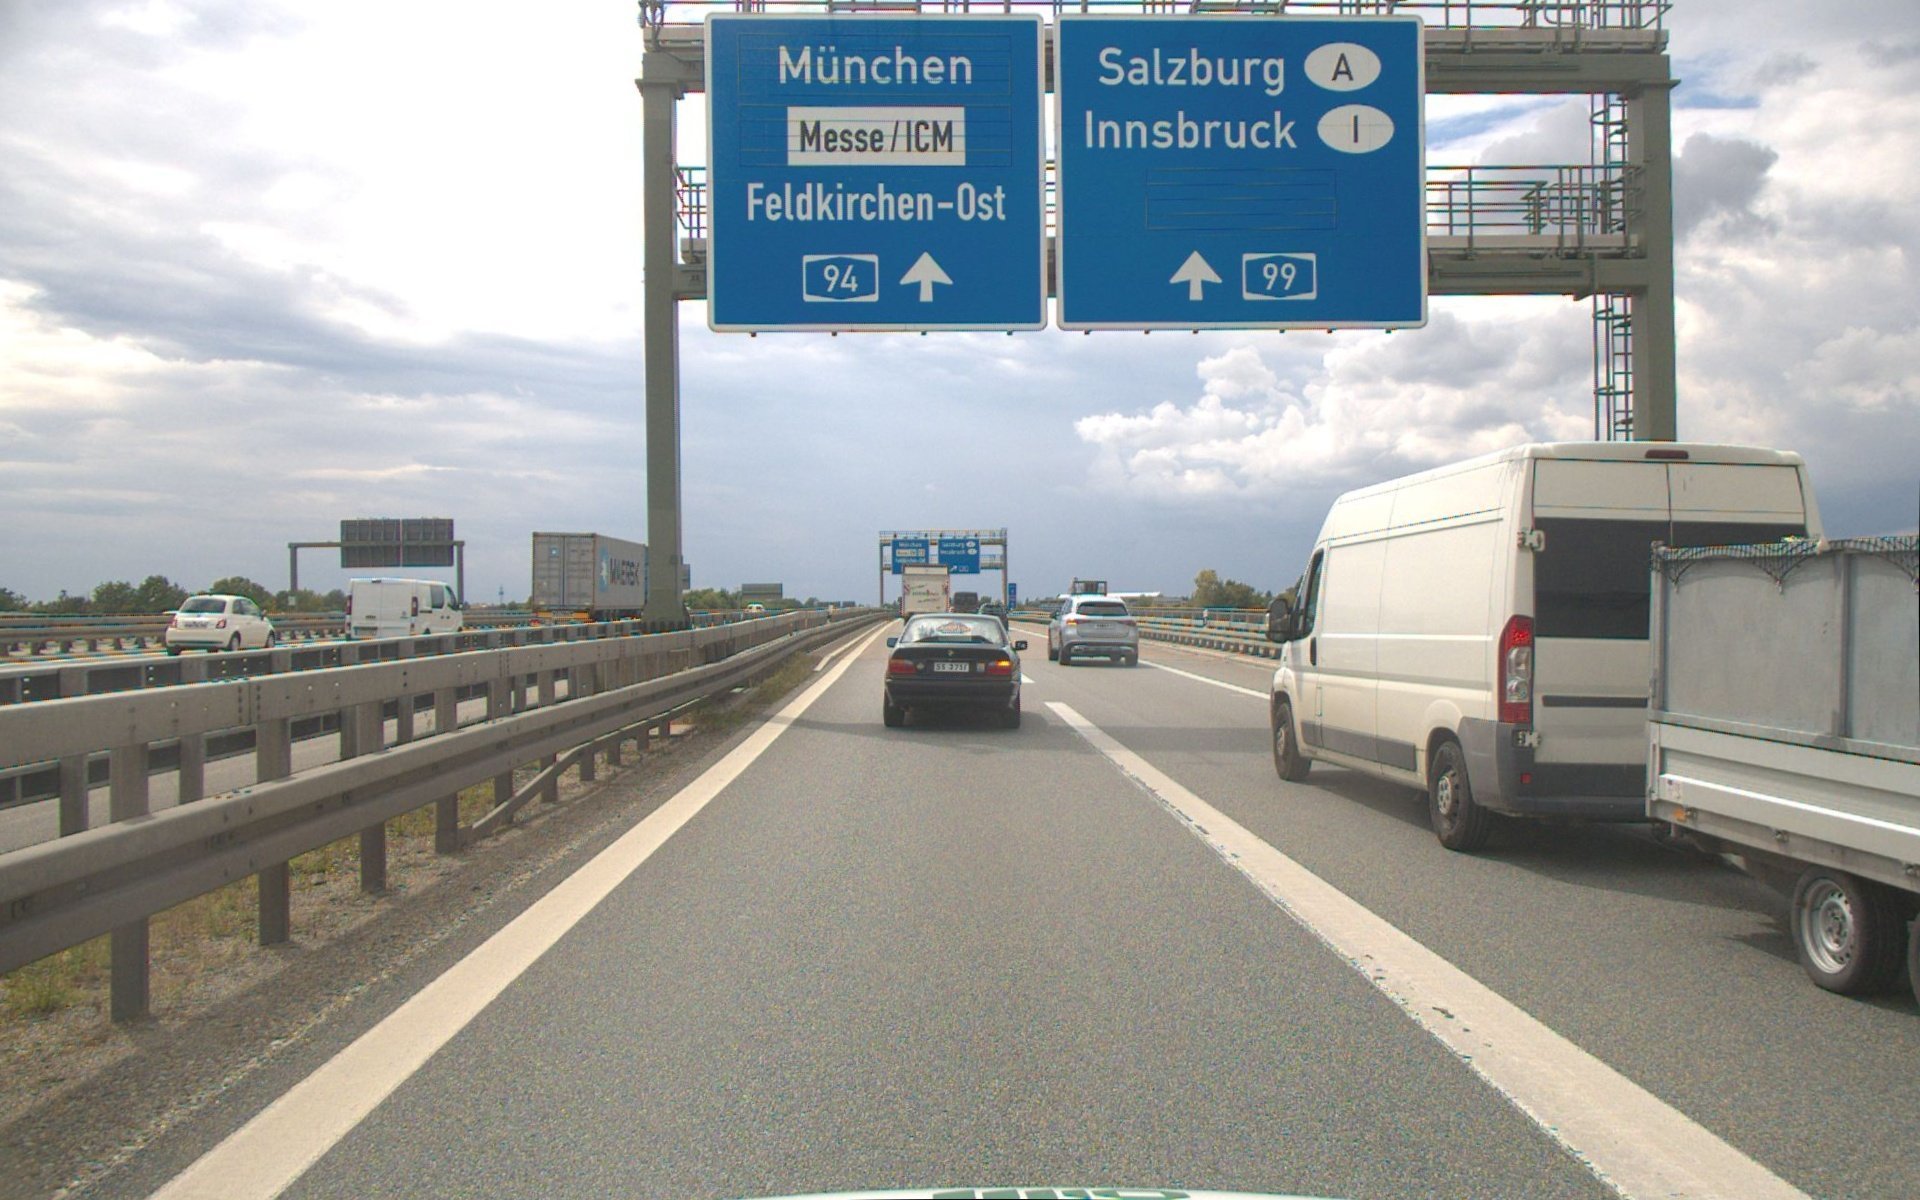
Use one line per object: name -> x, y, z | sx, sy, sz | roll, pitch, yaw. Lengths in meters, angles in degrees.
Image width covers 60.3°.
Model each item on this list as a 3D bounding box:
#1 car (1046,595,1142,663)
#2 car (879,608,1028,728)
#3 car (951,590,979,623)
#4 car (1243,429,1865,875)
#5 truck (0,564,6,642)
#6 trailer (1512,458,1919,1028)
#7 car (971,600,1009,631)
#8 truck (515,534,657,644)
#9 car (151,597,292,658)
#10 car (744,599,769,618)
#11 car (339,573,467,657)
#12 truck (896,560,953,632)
car -> 3.223, 0.665, 40.347 | 1.783, 1.541, 3.997 | 1, 0, -3
car -> -0.083, 0.783, 20.899 | 1.669, 1.303, 4.365 | 1, 0, 0
car -> 0.353, 0.475, 121.640 | 1.868, 2.301, 4.647 | 1, 0, -2
car -> 3.915, 0.301, 12.452 | 2.072, 2.497, 6.146 | 1, 0, -4
truck -> -46.434, 0.117, 72.915 | 2.952, 3.698, 10.432 | 1, 0, -2
trailer -> 4.262, 0.525, 7.219 | 1.818, 2.049, 4.627 | 1, 0, -5
car -> 1.585, 0.809, 88.949 | 1.847, 1.579, 3.998 | 1, 0, -2
truck -> -15.659, -0.429, 70.847 | 3.120, 4.089, 16.065 | 1, 0, -3
car -> -18.554, 0.663, 41.750 | 1.761, 1.444, 4.000 | 1, 0, 0
car -> -17.831, 0.756, 145.029 | 1.791, 1.590, 3.999 | 0, 0, -1
car -> -14.553, 0.368, 43.476 | 1.953, 2.049, 4.373 | 1, 0, -2
truck -> -1.746, -0.101, 78.846 | 2.517, 3.181, 8.630 | 1, -1, -2
